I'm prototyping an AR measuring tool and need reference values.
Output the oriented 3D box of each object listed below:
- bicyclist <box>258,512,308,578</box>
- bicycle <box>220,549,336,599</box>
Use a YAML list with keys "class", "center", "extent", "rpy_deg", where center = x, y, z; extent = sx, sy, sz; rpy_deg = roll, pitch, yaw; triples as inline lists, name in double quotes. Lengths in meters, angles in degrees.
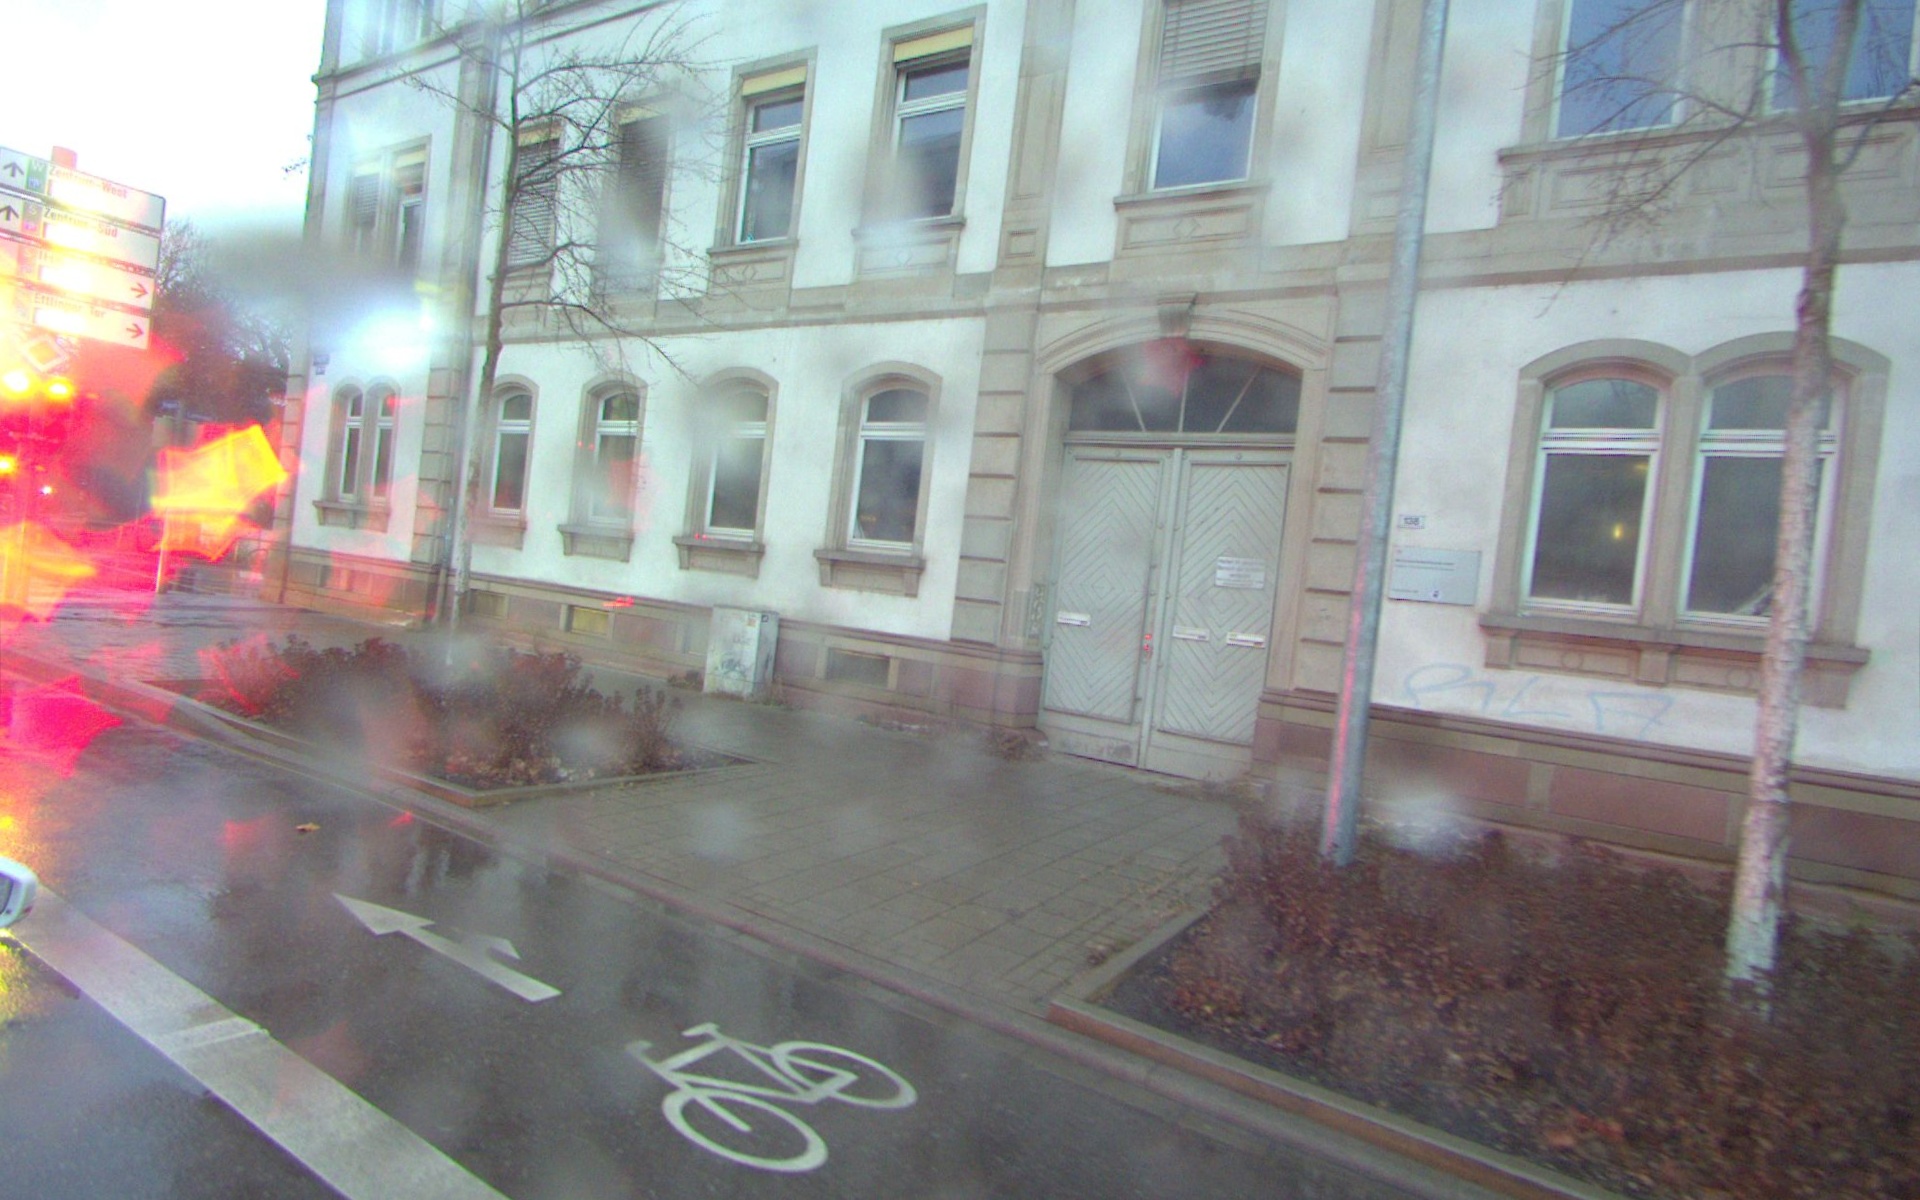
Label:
- class: "bicyclist"
  center: [-19.947, -1.605, 29.635]
  extent: [0.968, 1.779, 0.804]
  rpy_deg: [8, -2, -40]
- class: "bicycle"
  center: [-20.044, -0.755, 29.612]
  extent: [2.658, 1.101, 0.806]
  rpy_deg: [9, -3, -42]
